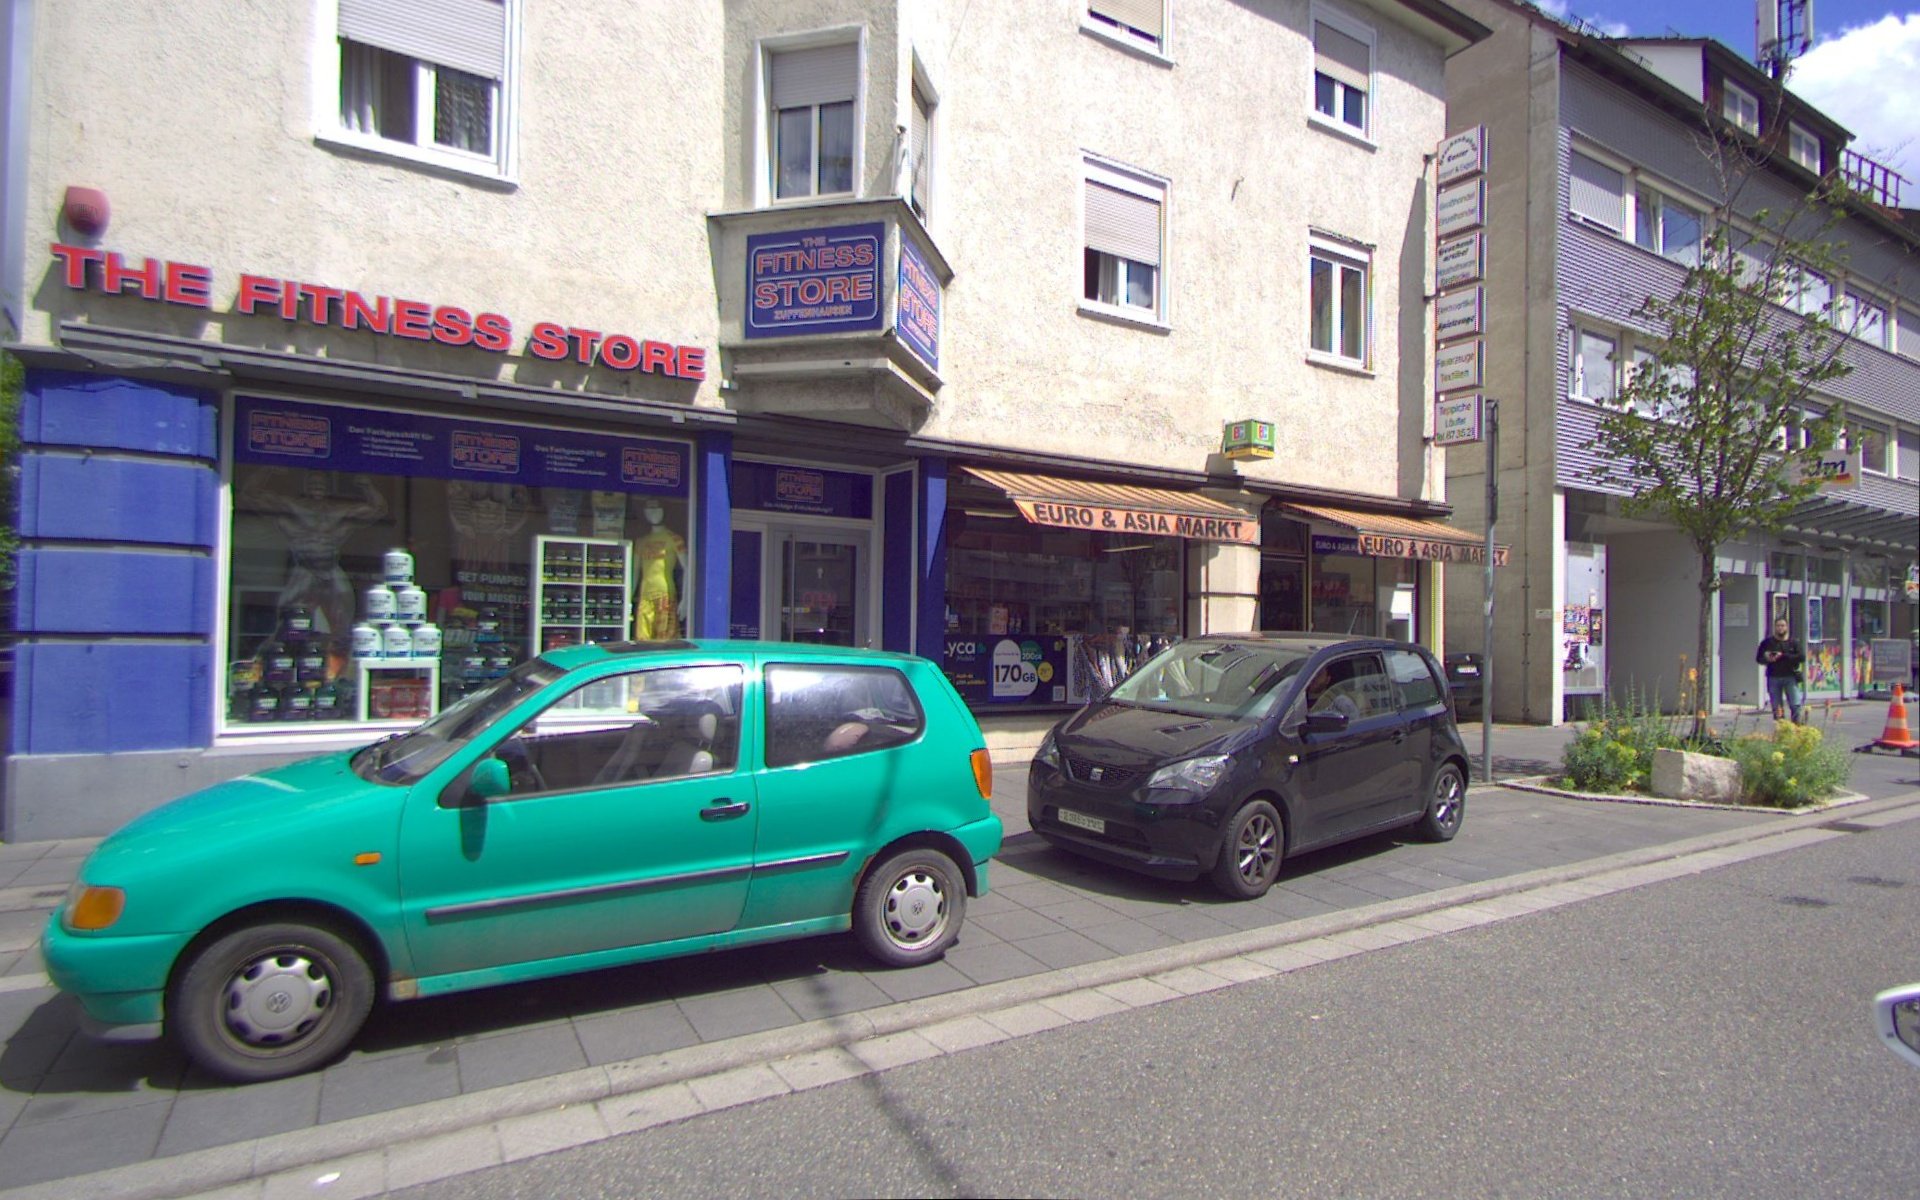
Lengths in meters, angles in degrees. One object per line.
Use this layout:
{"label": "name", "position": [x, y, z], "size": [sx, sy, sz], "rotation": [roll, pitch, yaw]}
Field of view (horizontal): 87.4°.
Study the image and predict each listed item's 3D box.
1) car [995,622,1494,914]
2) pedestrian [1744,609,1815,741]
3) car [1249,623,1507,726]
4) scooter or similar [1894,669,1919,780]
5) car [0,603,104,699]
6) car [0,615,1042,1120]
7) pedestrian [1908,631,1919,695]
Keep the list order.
{"label": "car", "position": [2.096, 0.947, 6.966], "size": [3.527, 1.465, 1.584], "rotation": [2, 0, -39]}
{"label": "pedestrian", "position": [11.404, 1.026, 13.981], "size": [0.721, 1.780, 0.544], "rotation": [2, 0, -34]}
{"label": "car", "position": [6.931, 1.174, 17.016], "size": [1.638, 1.429, 3.801], "rotation": [2, 0, -30]}
{"label": "scooter or similar", "position": [10.346, 1.312, 10.455], "size": [0.624, 1.141, 0.776], "rotation": [2, 0, -35]}
{"label": "car", "position": [-15.638, 0.773, 16.646], "size": [1.917, 1.350, 3.958], "rotation": [2, 0, -37]}
{"label": "car", "position": [-1.592, 0.854, 4.502], "size": [3.624, 1.433, 1.579], "rotation": [2, 0, -29]}
{"label": "pedestrian", "position": [22.323, 1.455, 23.063], "size": [0.556, 1.474, 0.651], "rotation": [2, 0, -30]}
